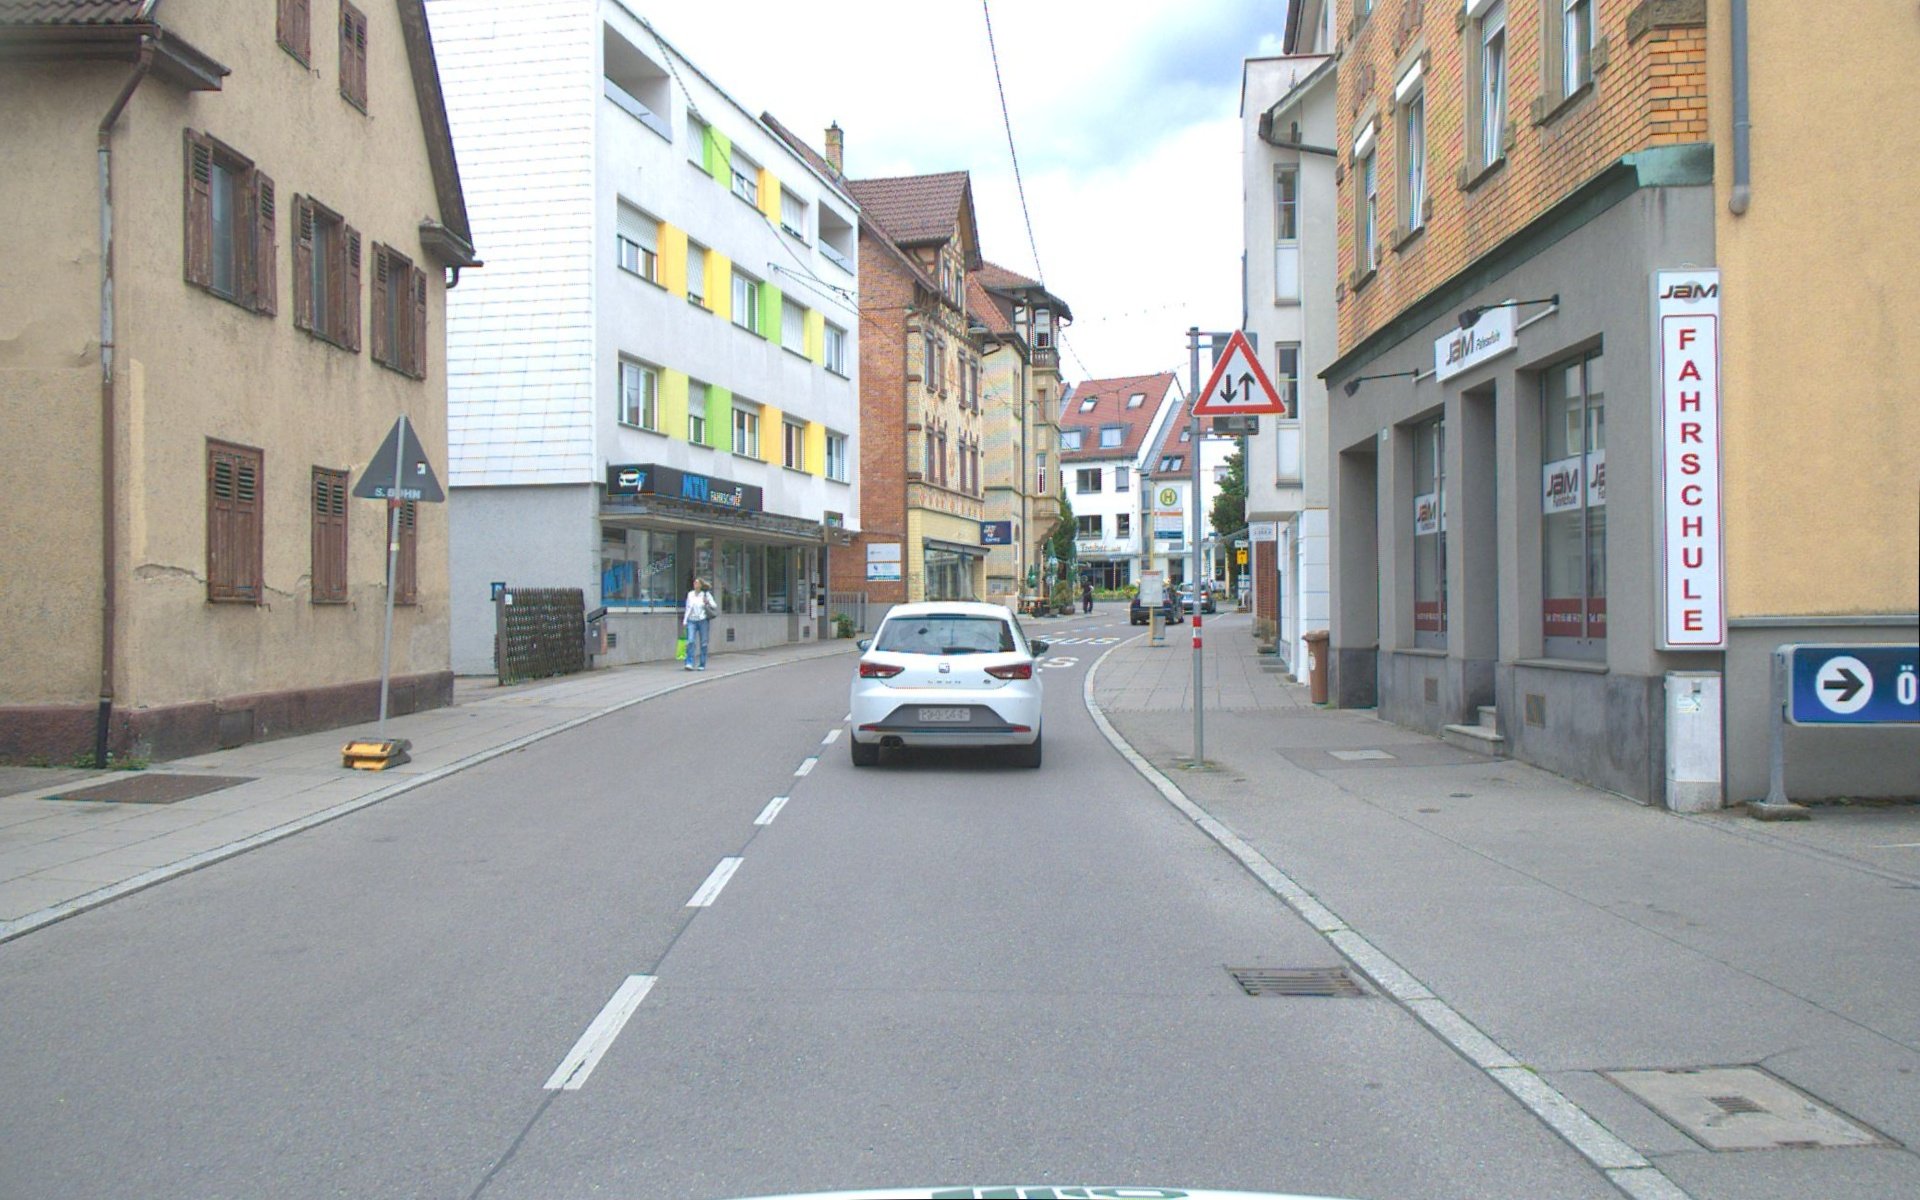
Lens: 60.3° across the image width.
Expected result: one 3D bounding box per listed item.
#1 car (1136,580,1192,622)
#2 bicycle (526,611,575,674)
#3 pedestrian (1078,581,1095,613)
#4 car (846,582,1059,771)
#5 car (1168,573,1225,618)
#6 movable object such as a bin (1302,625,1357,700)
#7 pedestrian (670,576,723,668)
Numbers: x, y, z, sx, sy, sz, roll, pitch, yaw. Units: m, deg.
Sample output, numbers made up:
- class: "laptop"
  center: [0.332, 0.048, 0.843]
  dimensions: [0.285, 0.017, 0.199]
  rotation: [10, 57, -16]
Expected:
- class: "car"
  center: [7.925, 0.003, 64.016]
  dimensions: [1.773, 1.506, 3.874]
  rotation: [0, 1, 13]
- class: "bicycle"
  center: [-7.436, 0.757, 30.103]
  dimensions: [0.316, 1.072, 1.750]
  rotation: [0, 0, 5]
- class: "pedestrian"
  center: [6.266, -0.146, 81.963]
  dimensions: [0.816, 1.579, 0.628]
  rotation: [-1, 0, 6]
- class: "car"
  center: [-0.041, 0.627, 15.855]
  dimensions: [1.774, 1.506, 3.871]
  rotation: [-1, 1, 1]
- class: "car"
  center: [11.031, -0.232, 76.990]
  dimensions: [1.952, 2.049, 4.002]
  rotation: [-1, 0, 18]
- class: "movable object such as a bin"
  center: [4.799, 0.810, 21.508]
  dimensions: [0.606, 0.937, 0.582]
  rotation: [-1, 0, 5]
- class: "pedestrian"
  center: [-4.987, 0.406, 31.396]
  dimensions: [0.874, 1.694, 0.861]
  rotation: [-1, 0, -3]
